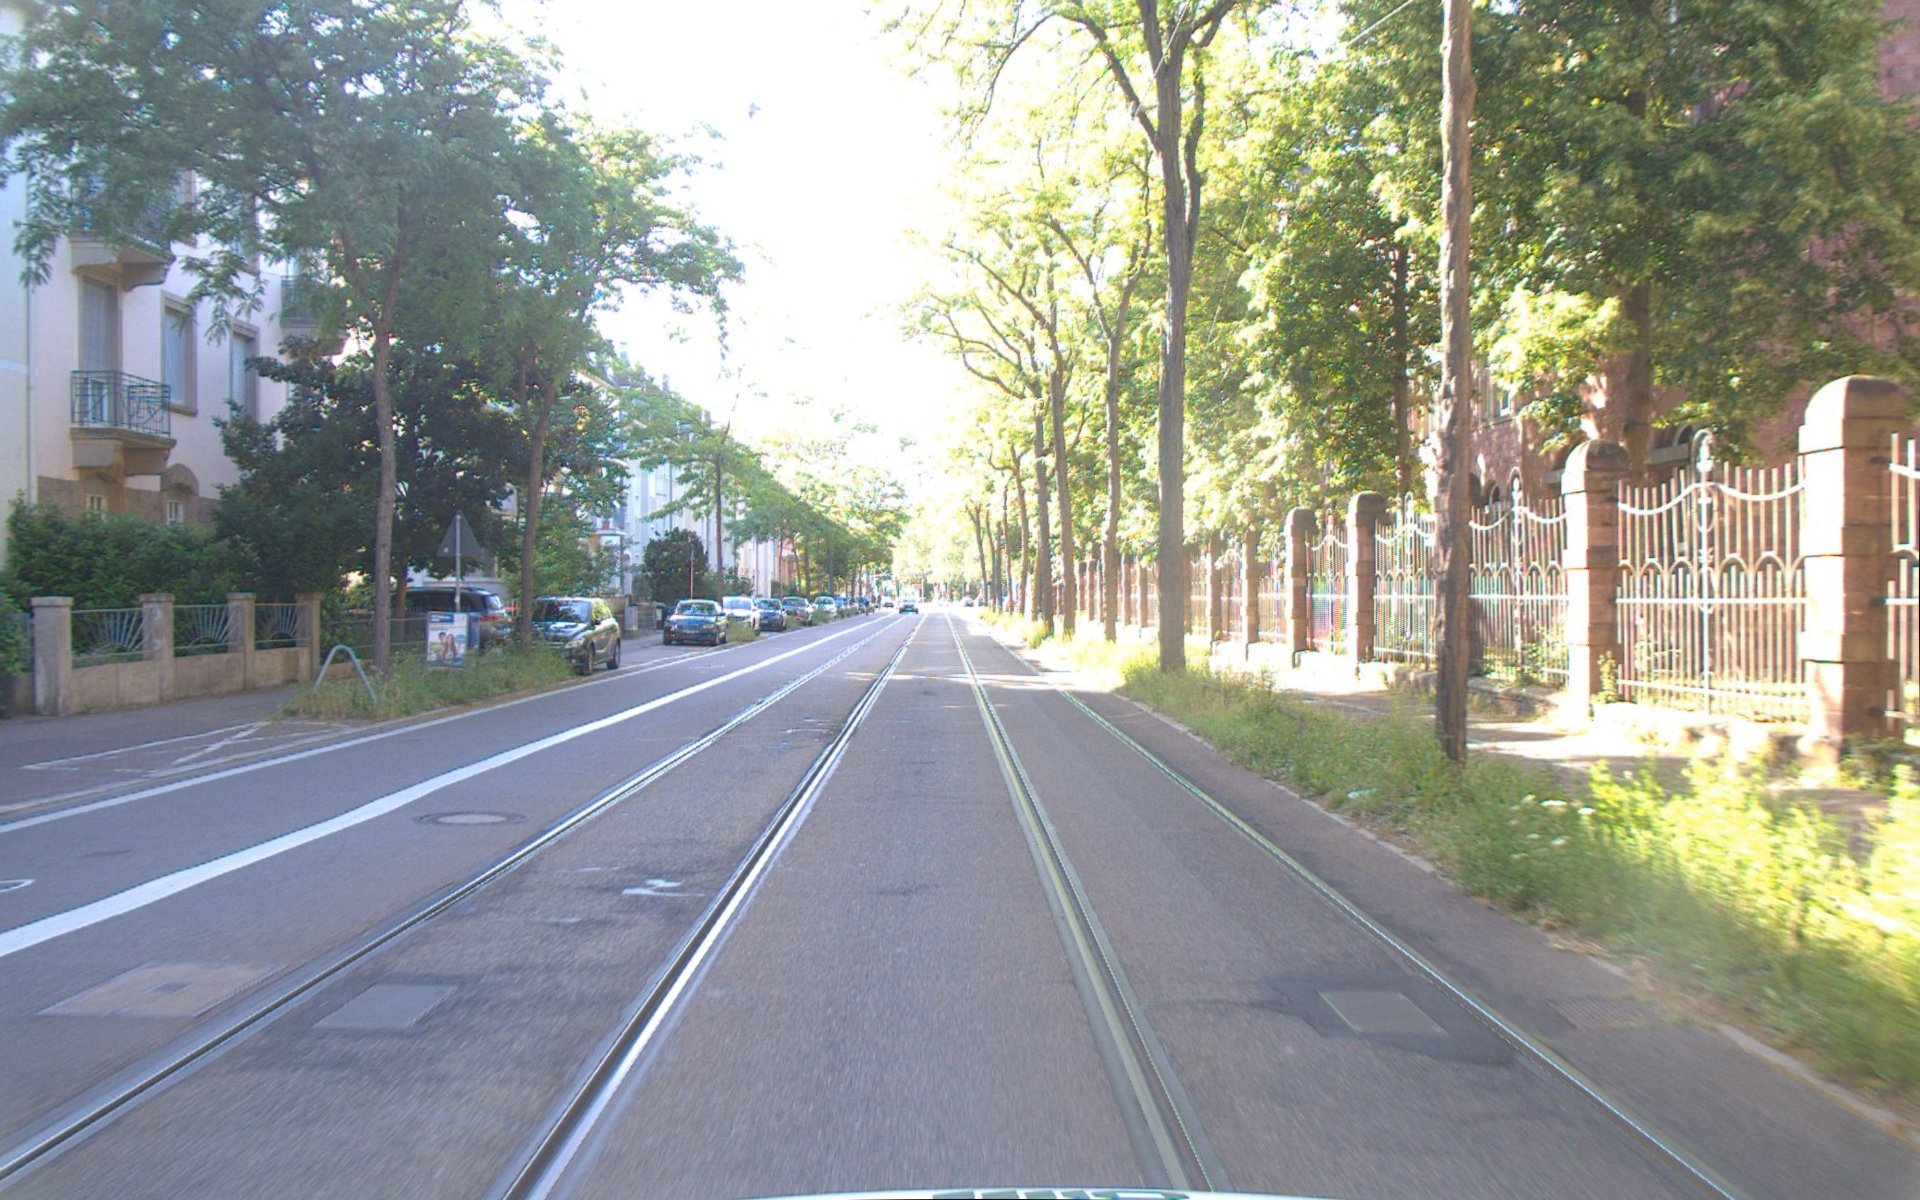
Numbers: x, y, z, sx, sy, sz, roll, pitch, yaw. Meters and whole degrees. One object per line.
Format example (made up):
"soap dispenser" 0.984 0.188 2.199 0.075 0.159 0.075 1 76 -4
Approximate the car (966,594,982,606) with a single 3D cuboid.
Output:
"car" 1.944 -0.062 230.175 1.905 1.638 3.995 0 0 -6

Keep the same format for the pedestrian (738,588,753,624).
"pedestrian" -11.280 0.308 86.924 0.677 1.833 0.813 -1 0 -1

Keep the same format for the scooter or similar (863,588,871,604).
"scooter or similar" -7.608 -0.315 134.991 0.510 1.320 1.377 -3 0 -1

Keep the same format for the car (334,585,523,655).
"car" -13.269 0.489 41.490 4.082 1.688 1.982 1 0 -2

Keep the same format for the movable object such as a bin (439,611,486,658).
"movable object such as a bin" -11.713 0.809 38.982 0.857 1.084 0.814 0 0 -1

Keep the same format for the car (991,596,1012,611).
"car" 4.614 0.414 185.394 1.905 1.638 3.995 0 0 -6

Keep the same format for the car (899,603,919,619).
"car" -4.623 0.985 149.853 1.722 1.464 4.522 0 0 -2

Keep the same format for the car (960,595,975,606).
"car" 1.116 0.014 243.337 1.905 1.638 3.995 0 0 -6

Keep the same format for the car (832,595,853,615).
"car" -9.455 0.399 133.402 1.529 1.482 3.929 2 0 -3

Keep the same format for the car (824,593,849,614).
"car" -9.240 0.234 123.554 1.653 1.511 3.758 2 0 -2

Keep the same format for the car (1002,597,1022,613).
"car" 5.479 0.510 175.095 1.802 1.684 3.577 0 0 -3

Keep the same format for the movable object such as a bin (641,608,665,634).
"movable object such as a bin" -12.911 0.873 69.654 0.827 1.064 0.733 2 0 2

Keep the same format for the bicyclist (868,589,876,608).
"bicyclist" -7.931 -0.133 148.676 0.613 1.667 0.940 -3 0 -1

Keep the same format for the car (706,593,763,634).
"car" -8.924 0.527 65.774 1.780 1.537 4.369 1 0 -2

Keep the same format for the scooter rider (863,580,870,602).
"scooter rider" -7.622 -0.754 135.018 0.486 1.729 0.786 -3 0 -1

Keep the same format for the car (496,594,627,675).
"car" -8.393 0.680 35.198 1.740 1.568 4.485 1 0 -1

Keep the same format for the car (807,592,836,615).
"car" -9.661 0.209 115.380 1.668 1.511 4.078 2 0 -1

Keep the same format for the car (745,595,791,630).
"car" -8.790 0.554 76.095 1.722 1.537 4.437 1 0 -2

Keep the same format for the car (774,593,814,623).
"car" -8.907 0.416 89.102 1.780 1.511 4.205 1 0 -1

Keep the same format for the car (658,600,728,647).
"car" -8.697 0.726 54.155 1.671 1.431 4.332 1 0 -2

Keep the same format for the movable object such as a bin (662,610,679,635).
"movable object such as a bin" -12.206 0.941 69.728 0.548 0.992 0.733 2 0 2

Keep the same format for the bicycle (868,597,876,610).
"bicycle" -7.916 0.317 148.780 0.614 1.198 1.913 -3 0 -1
